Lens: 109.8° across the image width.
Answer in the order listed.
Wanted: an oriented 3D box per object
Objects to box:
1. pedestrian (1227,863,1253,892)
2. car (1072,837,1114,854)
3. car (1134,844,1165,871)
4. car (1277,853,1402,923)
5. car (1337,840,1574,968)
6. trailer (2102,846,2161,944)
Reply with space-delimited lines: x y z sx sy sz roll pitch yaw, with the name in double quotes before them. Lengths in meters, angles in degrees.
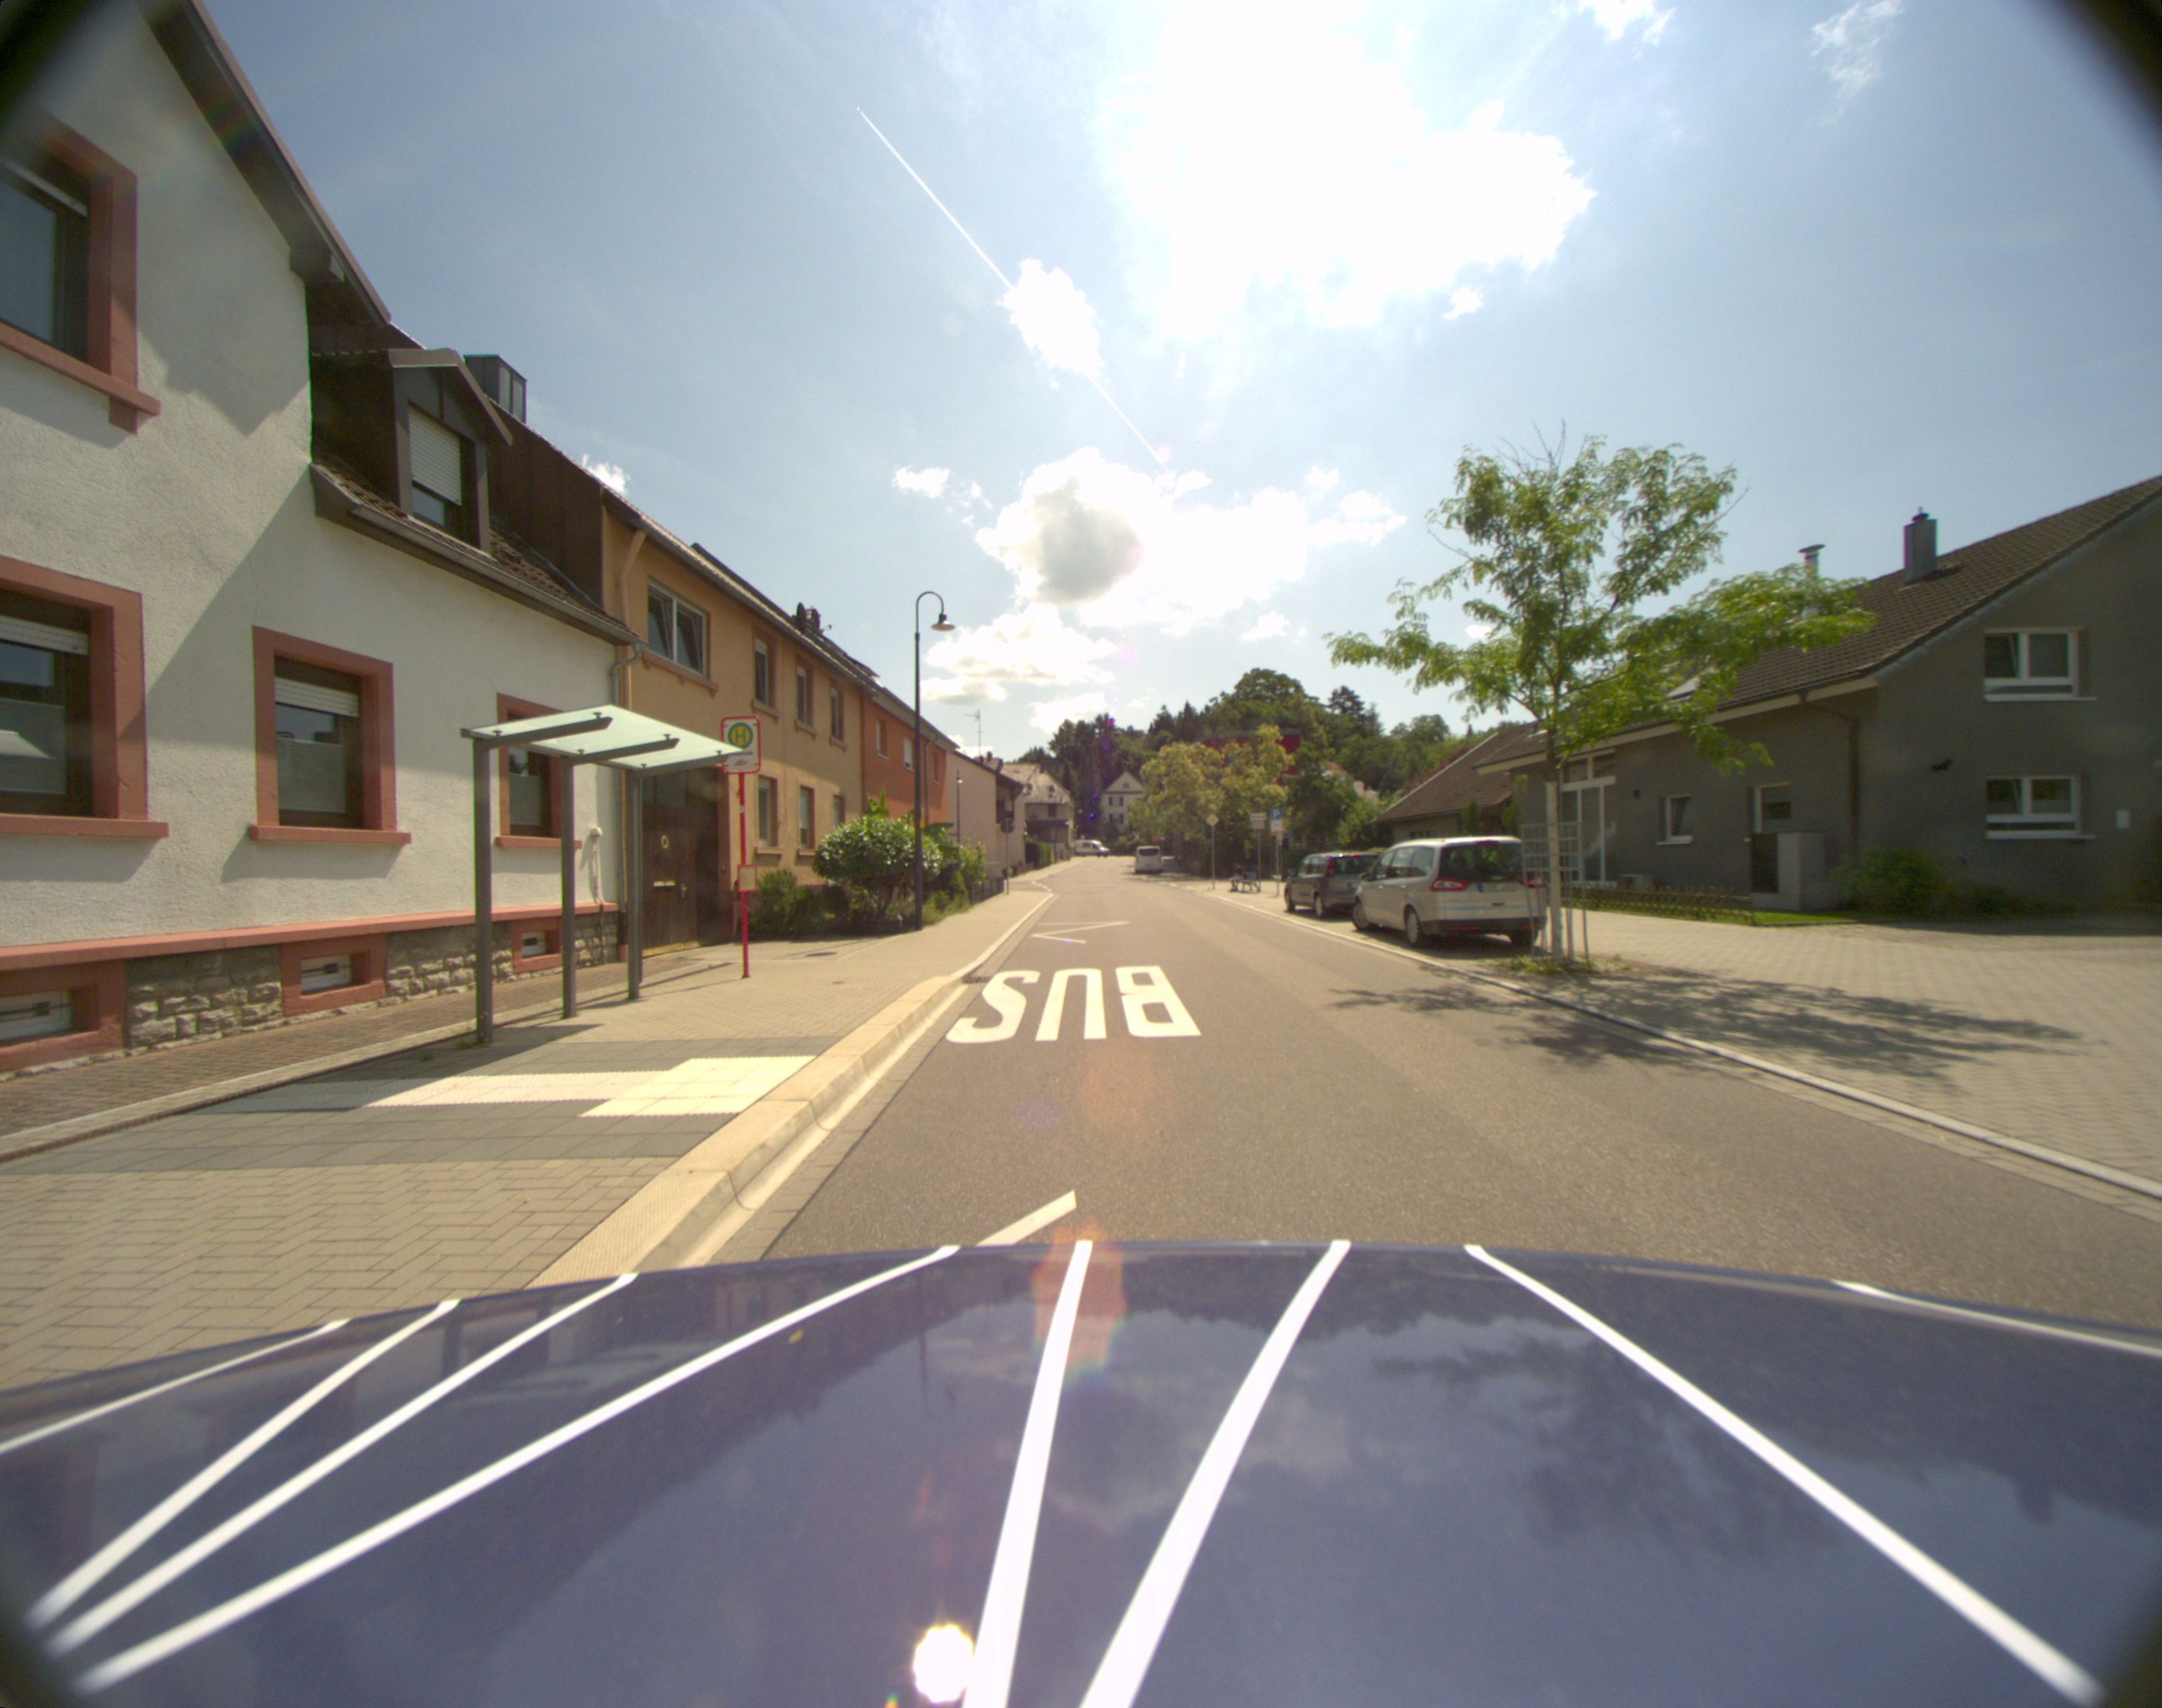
"pedestrian" 6.577 0.953 31.514 0.815 1.135 0.885 -2 1 -3
"car" 1.730 -1.210 108.113 5.591 2.306 2.493 -2 1 11
"car" 5.074 0.266 57.100 1.998 1.968 4.000 0 1 0
"car" 6.265 0.800 18.879 1.727 1.515 3.910 -2 -1 0
"car" 6.005 0.738 12.928 1.844 1.737 4.687 -2 -1 3
"trailer" 17.369 0.547 10.888 3.642 1.380 1.585 -2 1 -5
